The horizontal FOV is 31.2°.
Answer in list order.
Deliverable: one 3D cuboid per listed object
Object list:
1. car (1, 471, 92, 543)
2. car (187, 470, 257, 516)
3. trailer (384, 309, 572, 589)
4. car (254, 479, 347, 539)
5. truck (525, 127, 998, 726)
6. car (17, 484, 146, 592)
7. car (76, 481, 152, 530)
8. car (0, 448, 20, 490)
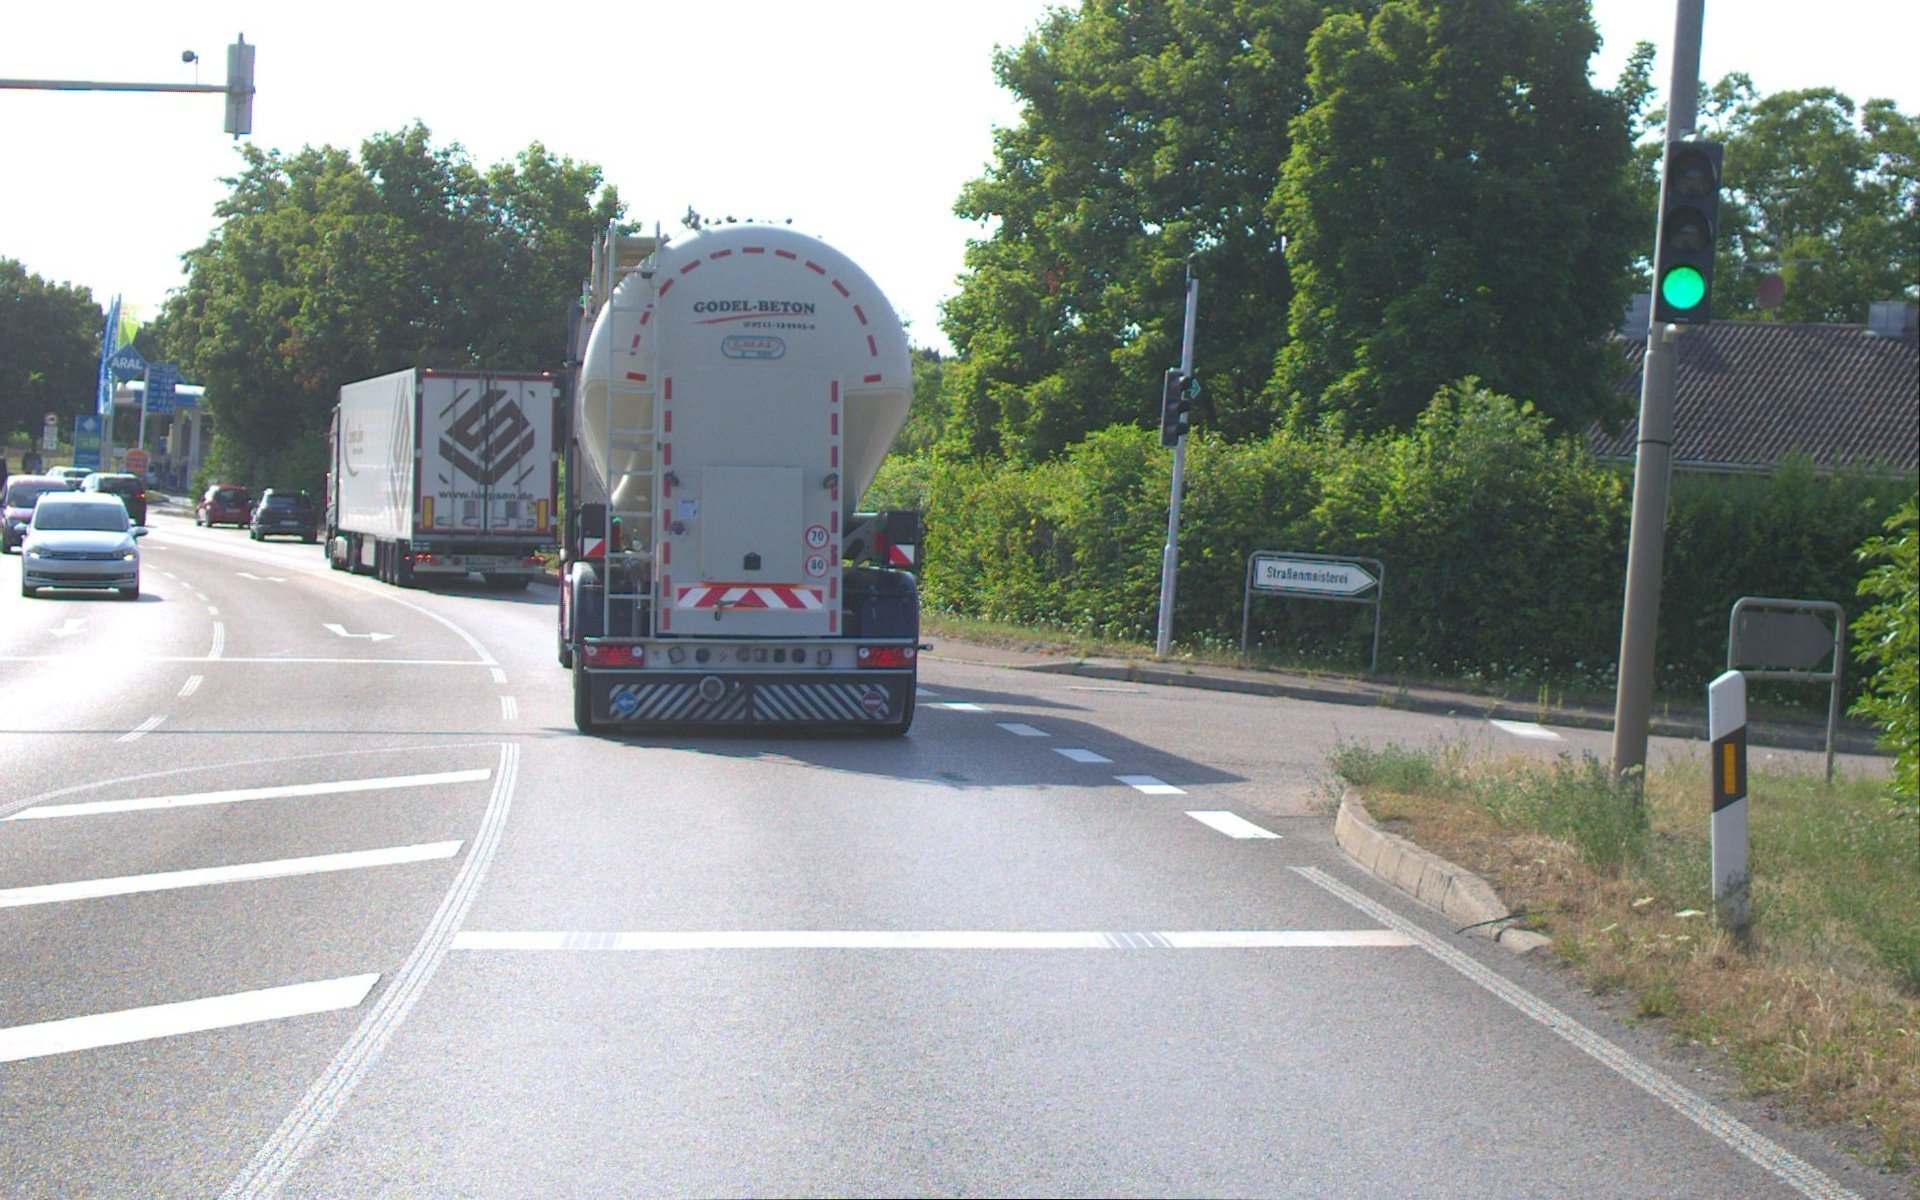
[{"bbox_3d":[-21.563,-2.199,81.066,1.881,1.594,4.001,2,1,-17],"label":"car"},{"bbox_3d":[-25.375,-3.663,118.104,1.683,1.463,4.001,2,0,-22],"label":"car"},{"bbox_3d":[-9.428,-2.700,66.304,2.963,4.865,10.291,2,0,-11],"label":"trailer"},{"bbox_3d":[-19.738,-2.700,102.827,1.993,1.650,4.001,2,0,-21],"label":"car"},{"bbox_3d":[-2.129,-1.242,30.301,2.975,4.161,11.665,2,0,-9],"label":"truck"},{"bbox_3d":[-14.073,-1.012,54.993,1.881,1.594,4.001,2,1,-15],"label":"car"},{"bbox_3d":[-28.872,-3.232,117.277,1.881,1.594,4.001,2,1,-22],"label":"car"},{"bbox_3d":[-39.029,-5.267,137.531,1.881,1.594,4.001,2,1,-28],"label":"car"}]
